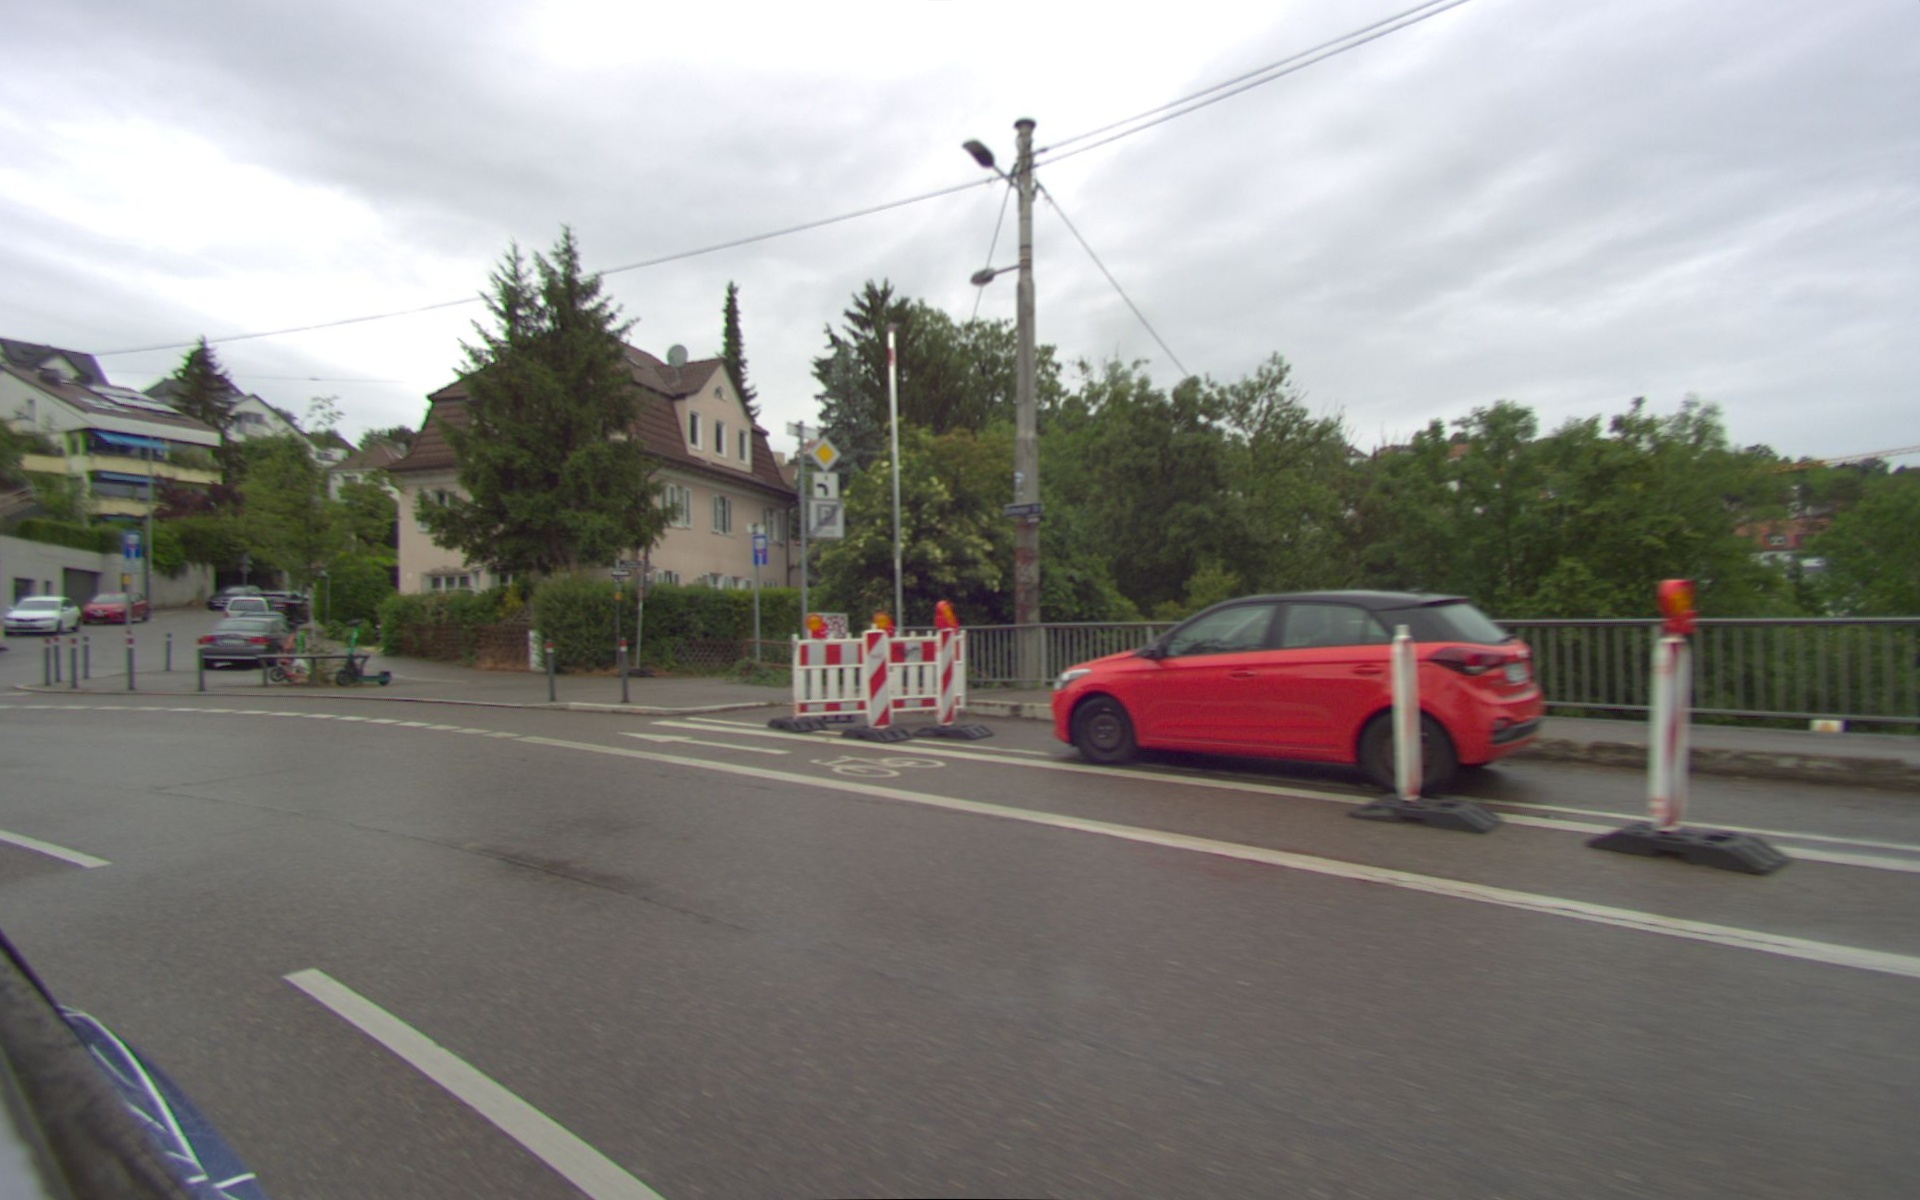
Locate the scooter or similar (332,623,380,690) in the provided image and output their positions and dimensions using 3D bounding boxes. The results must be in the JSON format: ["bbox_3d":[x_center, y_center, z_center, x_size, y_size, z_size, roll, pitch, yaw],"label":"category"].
[{"bbox_3d":[-11.543,1.066,19.355,0.240,1.227,1.036,0,-1,3],"label":"scooter or similar"}]

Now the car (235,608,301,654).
[{"bbox_3d":[-22.683,0.975,33.129,1.648,1.413,4.214,1,-1,-36],"label":"car"}]

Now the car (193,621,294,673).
[{"bbox_3d":[-19.883,1.260,28.235,1.646,1.276,4.218,0,-1,-26],"label":"car"}]

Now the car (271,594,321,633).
[{"bbox_3d":[-33.007,0.655,50.337,1.966,1.718,4.011,2,1,-34],"label":"car"}]

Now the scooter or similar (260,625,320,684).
[{"bbox_3d":[-13.783,1.103,20.828,0.242,1.173,1.026,0,-1,31],"label":"scooter or similar"}]

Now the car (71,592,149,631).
[{"bbox_3d":[-40.266,0.576,48.044,1.842,1.675,4.013,1,-3,-26],"label":"car"}]

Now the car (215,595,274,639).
[{"bbox_3d":[-30.063,0.688,42.621,1.843,1.674,4.012,2,1,-33],"label":"car"}]

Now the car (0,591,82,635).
[{"bbox_3d":[-37.110,0.530,40.641,1.965,1.674,4.012,1,-1,-29],"label":"car"}]

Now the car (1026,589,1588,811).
[{"bbox_3d":[2.685,0.654,8.451,4.135,1.409,1.667,0,-1,42],"label":"car"}]

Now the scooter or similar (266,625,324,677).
[{"bbox_3d":[-14.142,1.071,21.540,0.243,1.077,1.025,0,-1,33],"label":"scooter or similar"}]

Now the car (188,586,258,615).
[{"bbox_3d":[-44.122,0.024,60.690,1.851,1.504,4.010,-4,2,-12],"label":"car"}]
